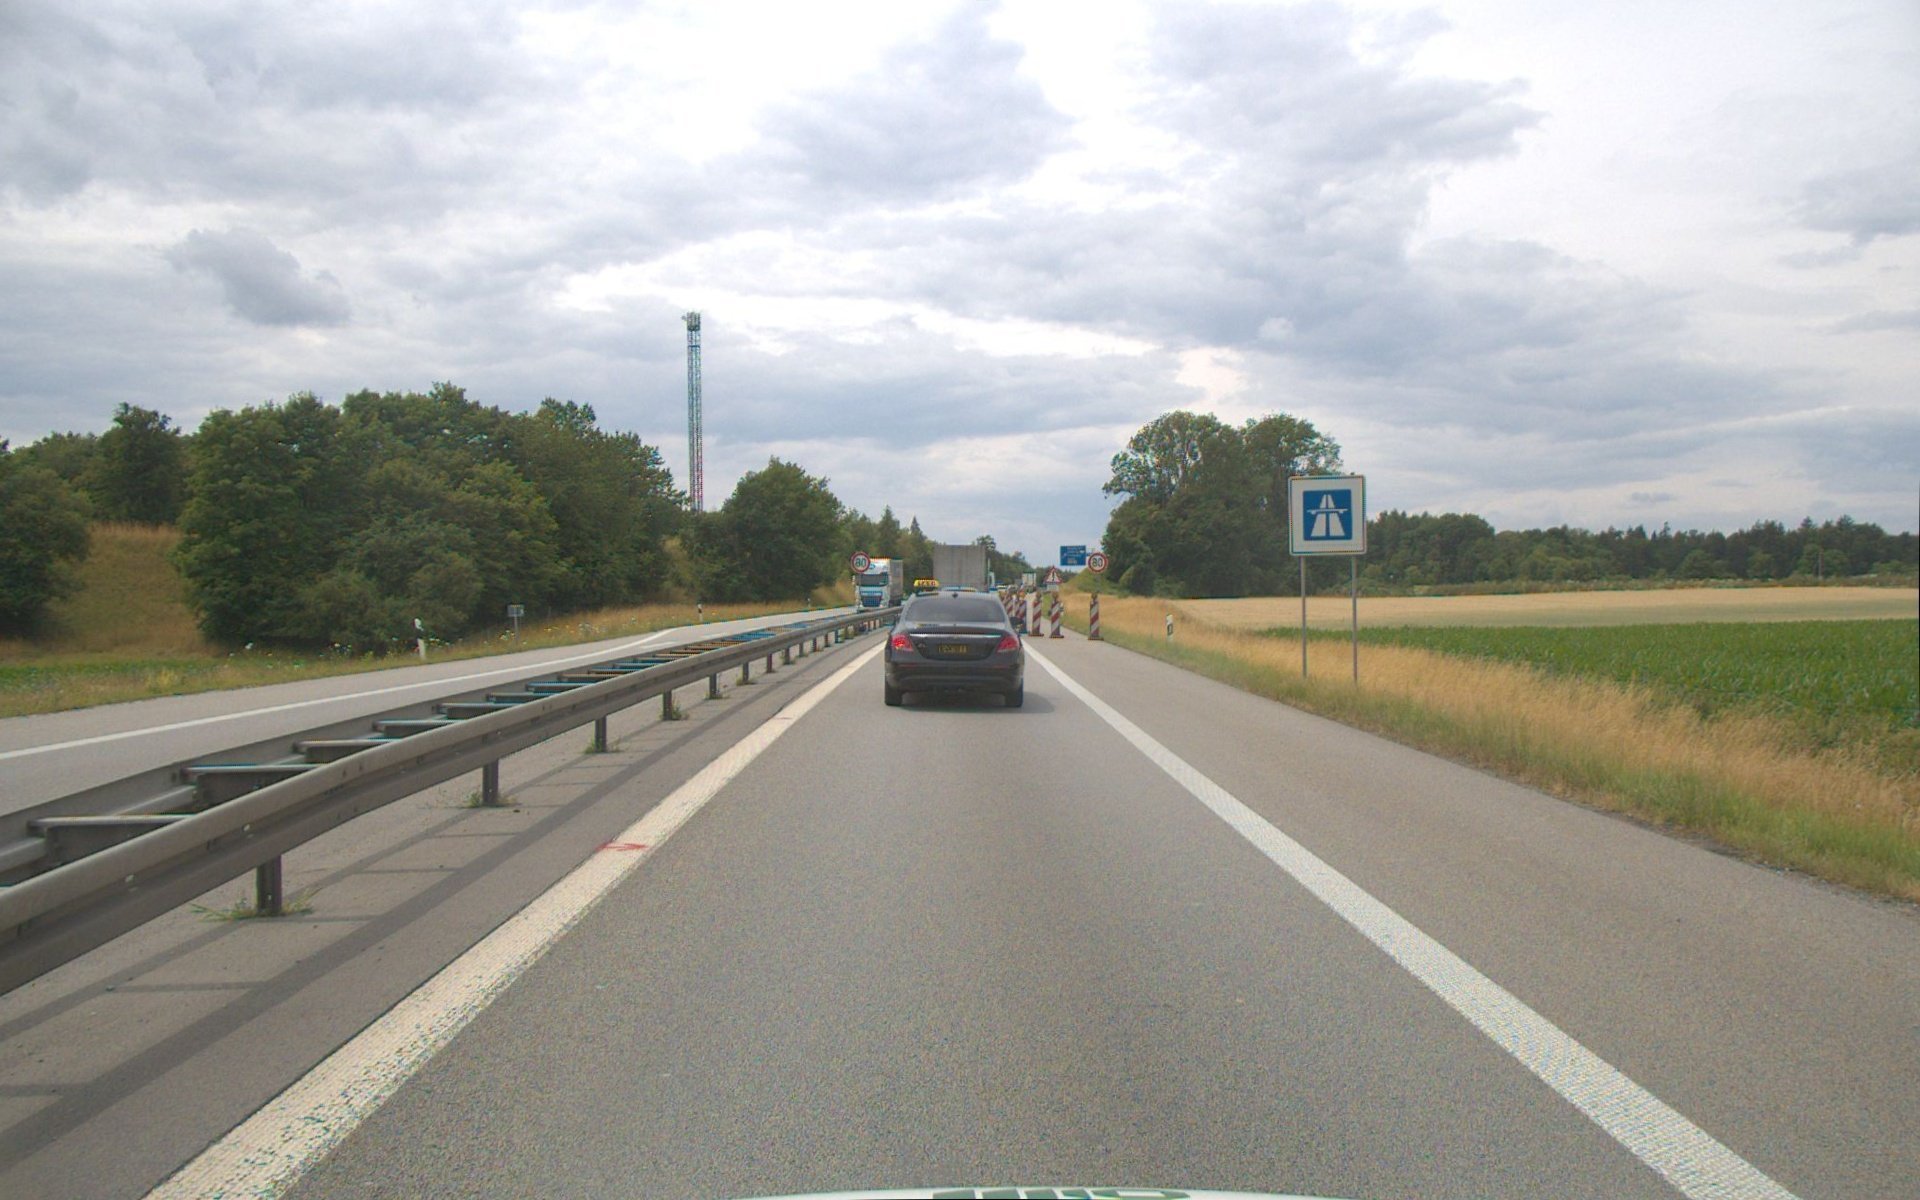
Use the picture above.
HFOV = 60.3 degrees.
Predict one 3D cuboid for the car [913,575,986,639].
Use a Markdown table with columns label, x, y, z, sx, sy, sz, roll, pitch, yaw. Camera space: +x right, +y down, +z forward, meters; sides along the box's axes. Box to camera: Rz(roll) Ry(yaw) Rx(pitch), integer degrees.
| label | x | y | z | sx | sy | sz | roll | pitch | yaw |
| --- | --- | --- | --- | --- | --- | --- | --- | --- | --- |
| car | -0.398 | 0.239 | 55.789 | 1.956 | 2.049 | 3.993 | 1 | 0 | -8 |

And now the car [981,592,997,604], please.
| label | x | y | z | sx | sy | sz | roll | pitch | yaw |
| --- | --- | --- | --- | --- | --- | --- | --- | --- | --- |
| car | 3.421 | -0.219 | 196.321 | 1.616 | 1.420 | 3.703 | 1 | 0 | -3 |

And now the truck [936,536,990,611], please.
| label | x | y | z | sx | sy | sz | roll | pitch | yaw |
| --- | --- | --- | --- | --- | --- | --- | --- | --- | --- |
| truck | 0.138 | -1.296 | 82.416 | 2.534 | 3.586 | 4.812 | 1 | 0 | 0 |

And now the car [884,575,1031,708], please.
| label | x | y | z | sx | sy | sz | roll | pitch | yaw |
| --- | --- | --- | --- | --- | --- | --- | --- | --- | --- |
| car | -0.062 | 0.510 | 22.104 | 1.759 | 1.587 | 3.999 | 1 | 0 | -1 |

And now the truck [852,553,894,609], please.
| label | x | y | z | sx | sy | sz | roll | pitch | yaw |
| --- | --- | --- | --- | --- | --- | --- | --- | --- | --- |
| truck | -6.707 | -1.414 | 128.107 | 2.741 | 4.214 | 7.228 | 1 | 0 | 0 |
